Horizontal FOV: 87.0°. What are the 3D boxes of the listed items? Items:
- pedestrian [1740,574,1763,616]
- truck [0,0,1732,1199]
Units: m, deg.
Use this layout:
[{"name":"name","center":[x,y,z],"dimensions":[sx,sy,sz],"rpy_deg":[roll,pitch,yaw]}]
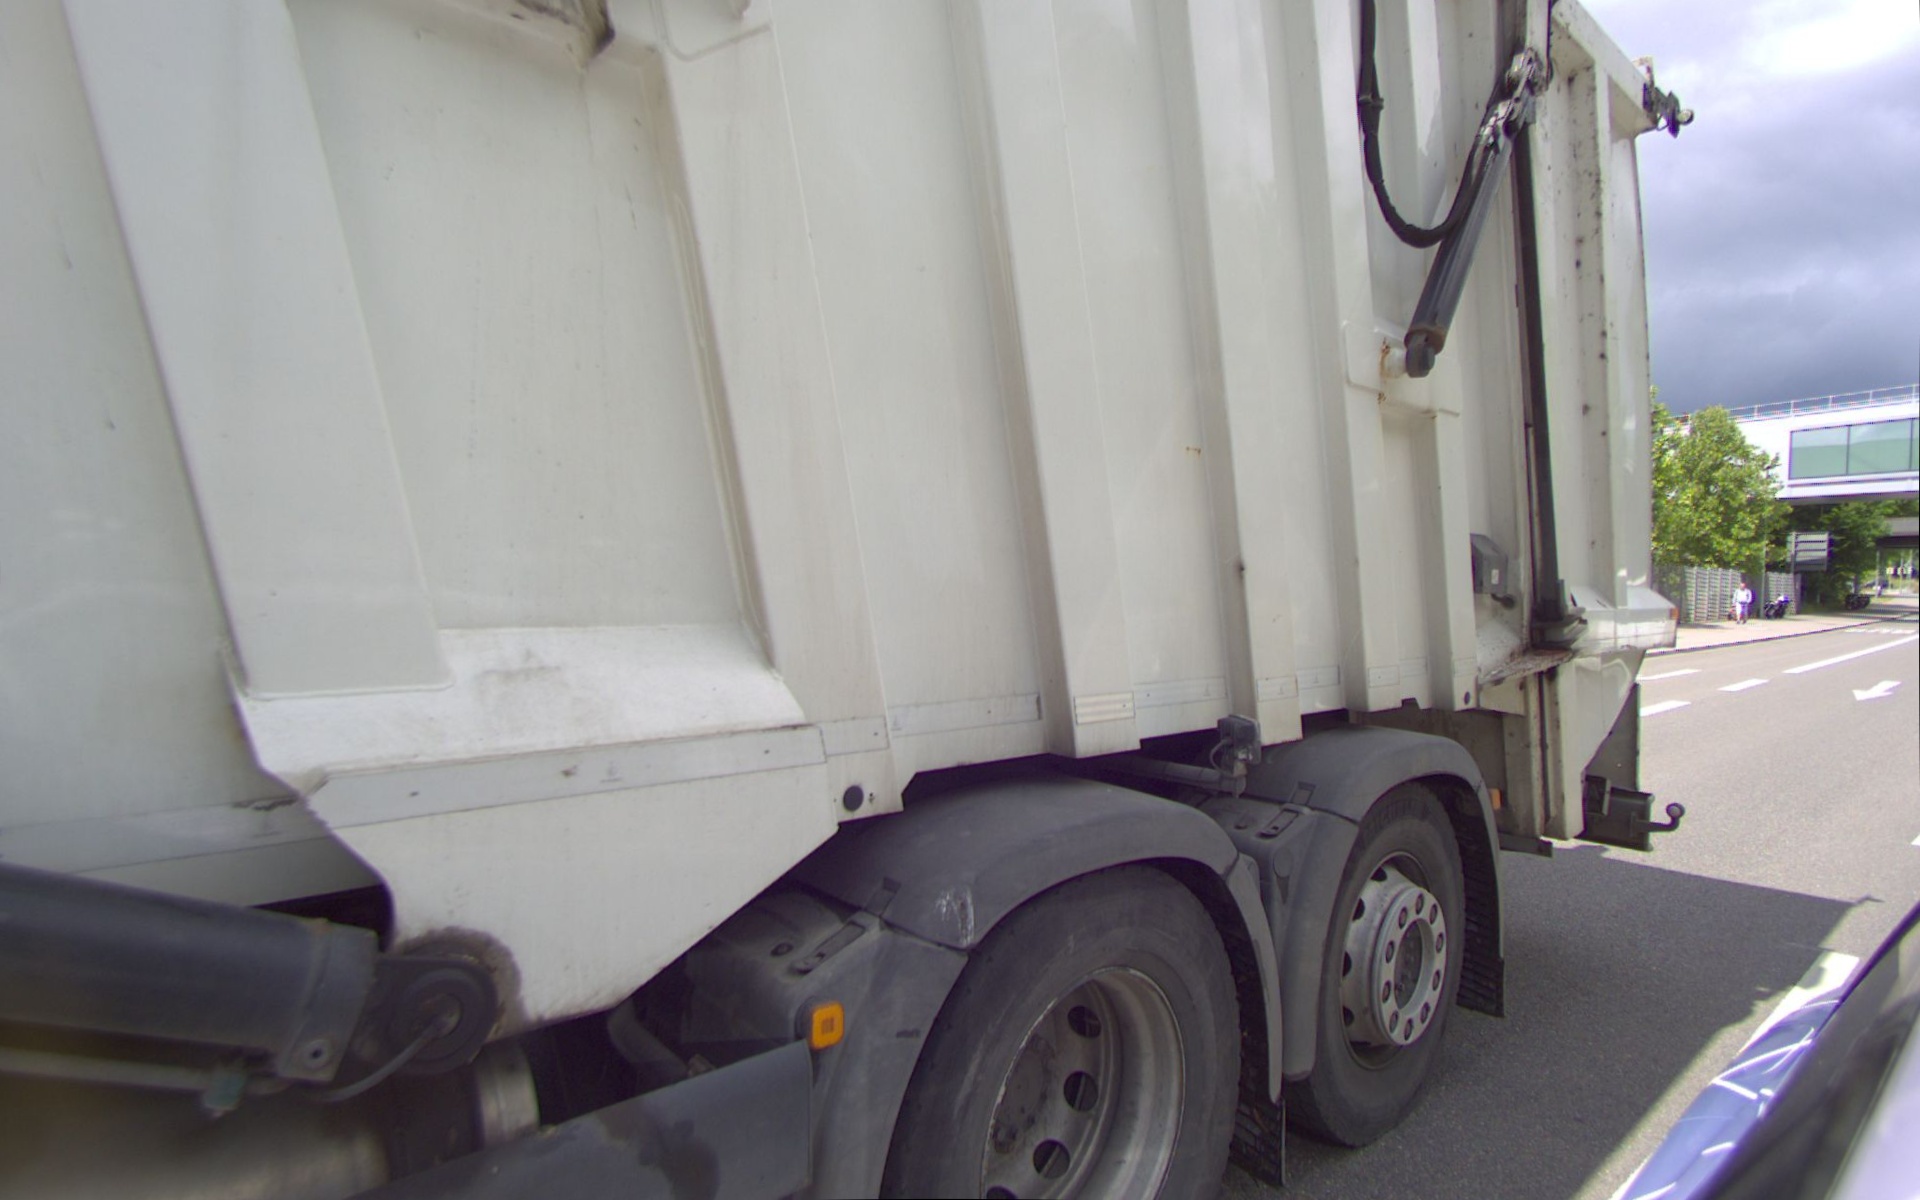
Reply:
[{"name":"pedestrian","center":[37.326,-0.230,47.732],"dimensions":[0.647,1.936,0.738],"rpy_deg":[0,0,-43]},{"name":"truck","center":[-0.855,-0.515,2.426],"dimensions":[9.999,3.962,2.492],"rpy_deg":[-1,0,-42]}]
